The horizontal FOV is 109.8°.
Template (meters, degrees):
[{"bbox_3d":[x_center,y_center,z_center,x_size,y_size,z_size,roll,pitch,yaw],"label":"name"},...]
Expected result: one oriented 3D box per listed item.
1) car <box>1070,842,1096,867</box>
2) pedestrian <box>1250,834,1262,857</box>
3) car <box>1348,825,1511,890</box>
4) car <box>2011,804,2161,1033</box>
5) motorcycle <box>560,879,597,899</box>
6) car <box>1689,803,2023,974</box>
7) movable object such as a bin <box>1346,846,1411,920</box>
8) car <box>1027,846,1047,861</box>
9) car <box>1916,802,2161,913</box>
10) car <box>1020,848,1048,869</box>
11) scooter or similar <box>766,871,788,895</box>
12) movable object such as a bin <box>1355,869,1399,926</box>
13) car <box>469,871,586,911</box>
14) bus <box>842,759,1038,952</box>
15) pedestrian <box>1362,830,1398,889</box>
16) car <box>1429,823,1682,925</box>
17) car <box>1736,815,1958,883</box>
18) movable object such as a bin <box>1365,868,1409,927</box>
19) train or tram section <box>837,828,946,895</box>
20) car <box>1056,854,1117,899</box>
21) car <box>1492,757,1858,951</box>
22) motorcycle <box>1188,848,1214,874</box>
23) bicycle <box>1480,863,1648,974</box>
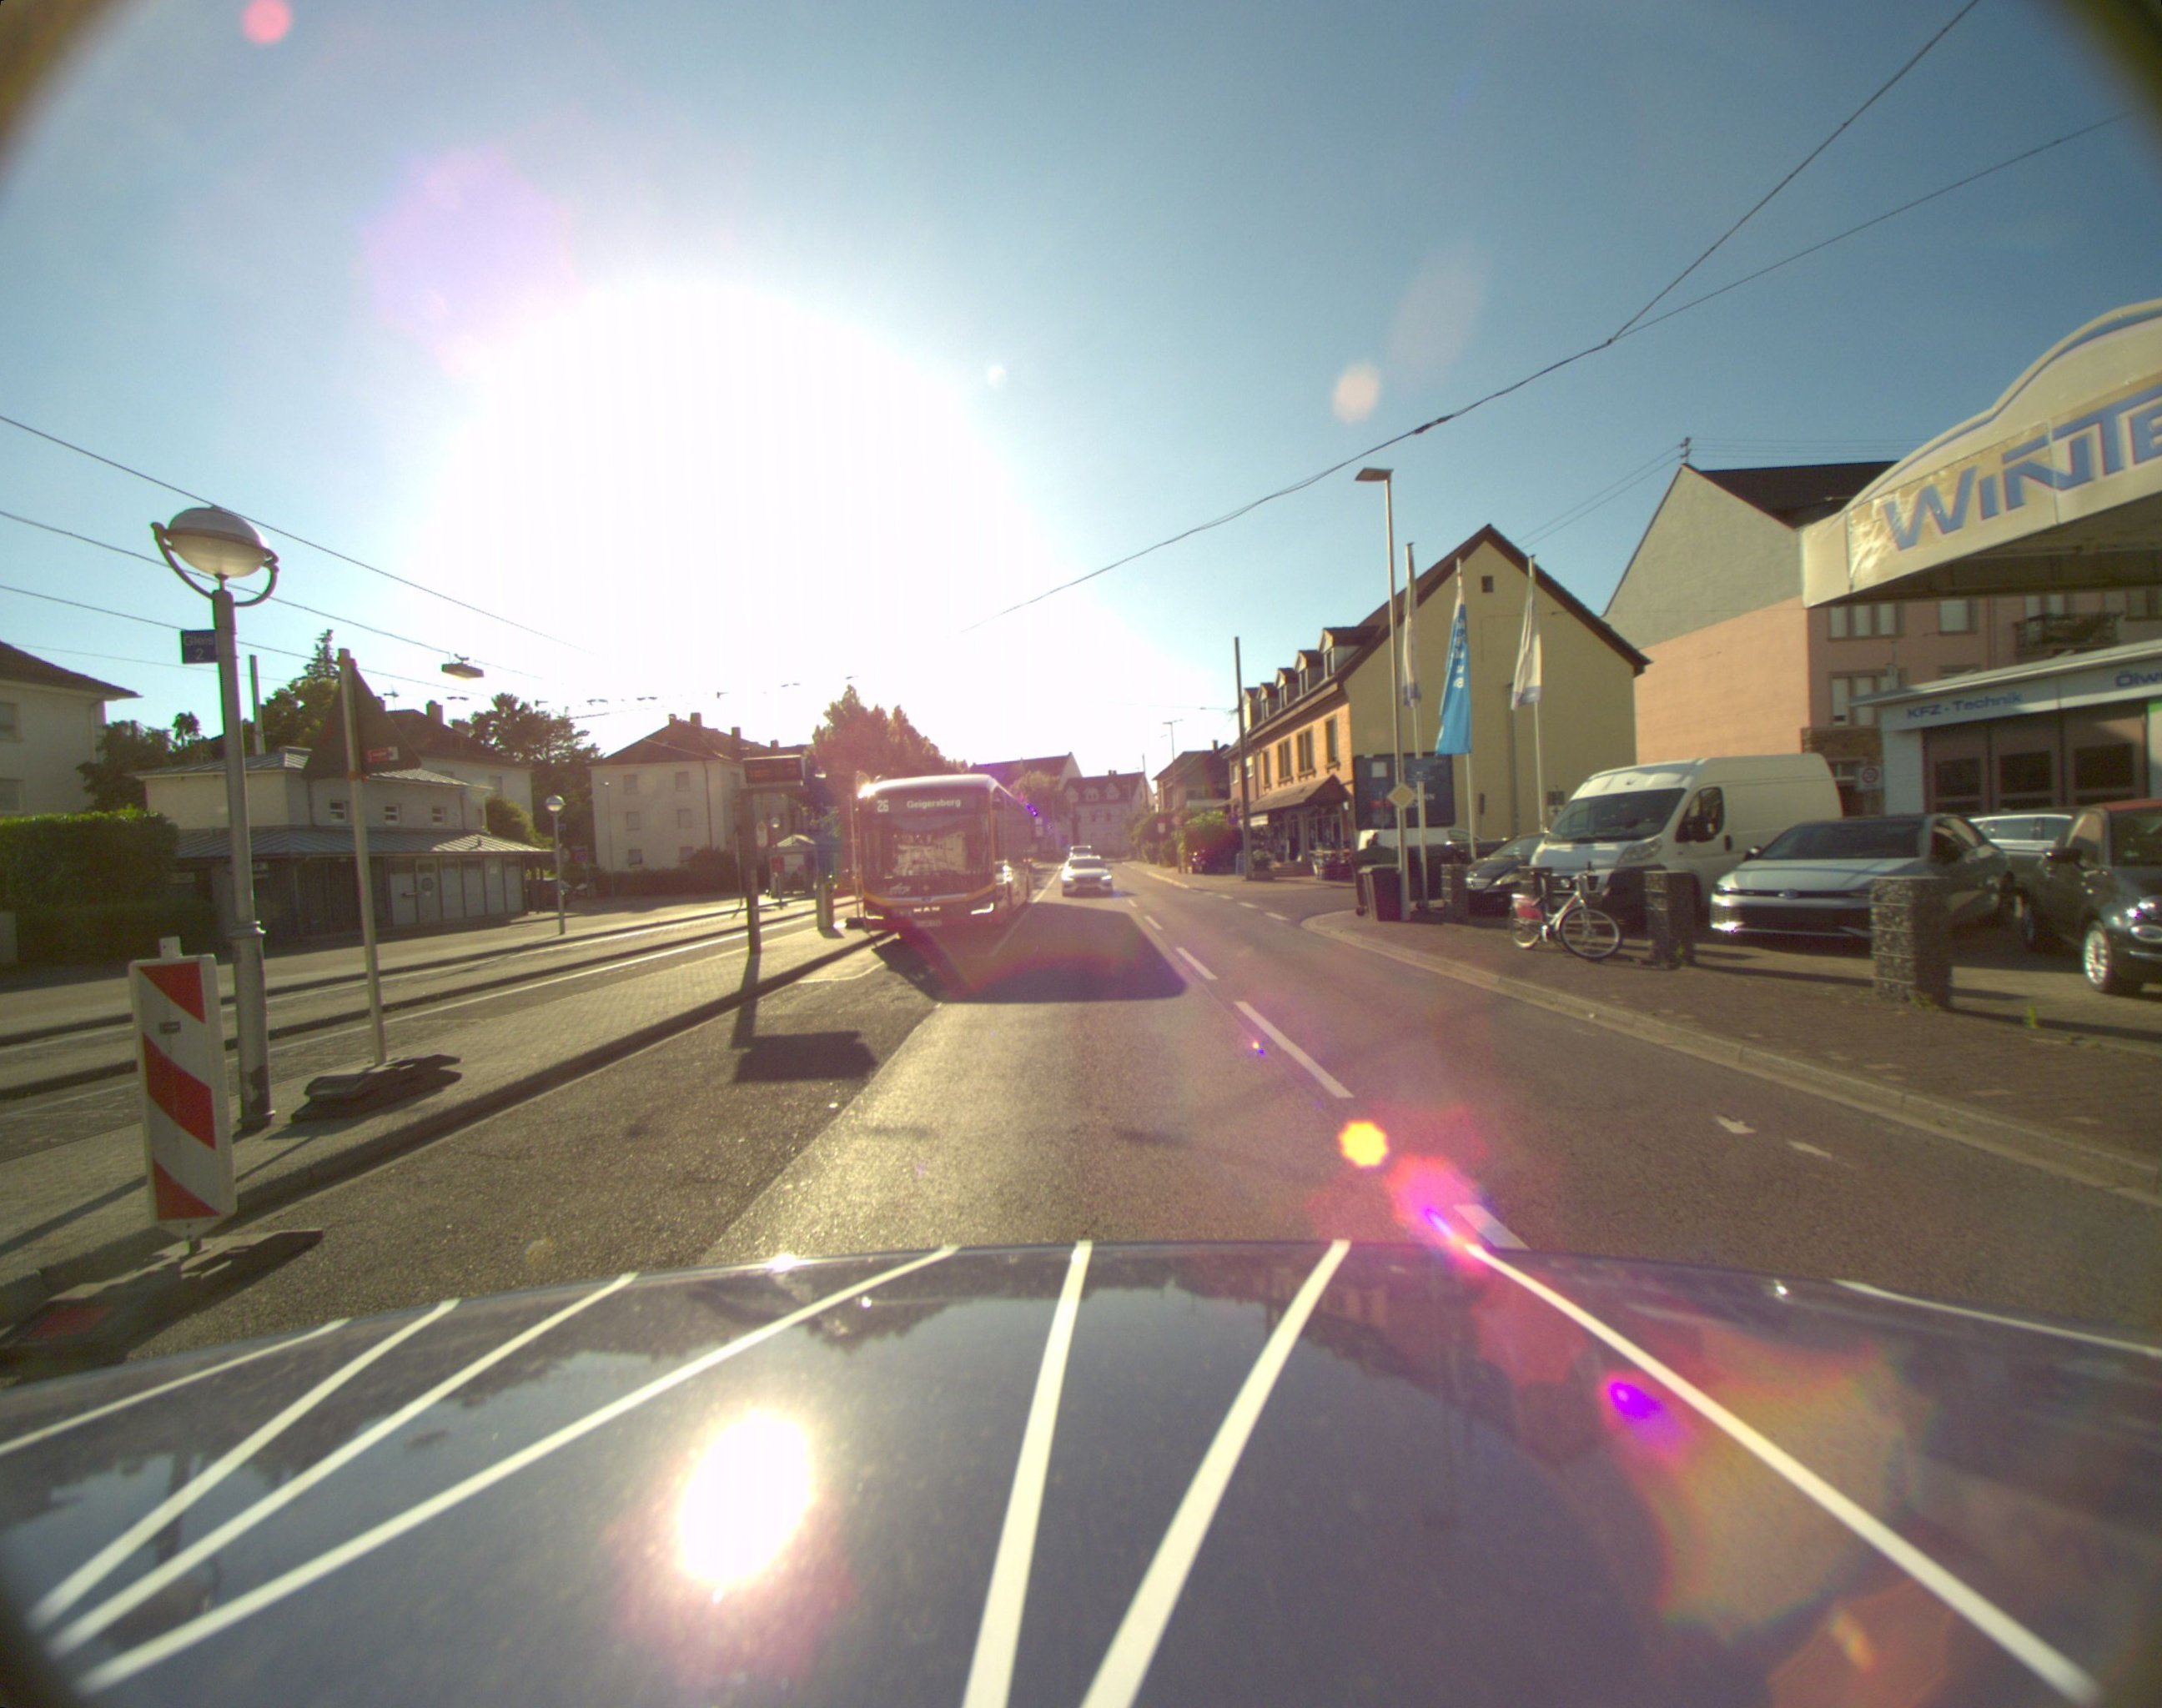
[{"bbox_3d":[0.142,0.038,64.360,1.871,1.922,4.791,-4,0,-2],"label":"car"},{"bbox_3d":[9.567,-0.479,41.614,0.524,1.251,0.465,-3,1,1],"label":"pedestrian"},{"bbox_3d":[11.870,0.102,26.104,4.627,1.922,1.999,-3,1,-2],"label":"car"},{"bbox_3d":[9.103,0.379,6.109,1.617,1.559,3.400,-2,1,43],"label":"car"},{"bbox_3d":[-30.981,2.154,46.892,1.826,1.155,0.558,-3,1,-3],"label":"motorcycle"},{"bbox_3d":[9.356,0.296,9.130,4.005,1.559,1.769,-4,0,-29],"label":"car"},{"bbox_3d":[6.336,0.617,16.158,1.055,1.473,1.315,-4,-2,28],"label":"movable object such as a bin"},{"bbox_3d":[-5.164,-0.059,89.573,1.998,1.664,4.000,-2,0,1],"label":"car"},{"bbox_3d":[16.353,0.005,11.859,1.772,1.559,4.315,-4,0,-1],"label":"car"},{"bbox_3d":[-3.889,0.362,63.786,1.998,1.664,4.000,-2,0,1],"label":"car"},{"bbox_3d":[-16.110,1.514,40.297,0.467,1.201,1.210,-2,1,11],"label":"scooter or similar"},{"bbox_3d":[5.885,0.857,15.142,0.661,1.056,0.585,-5,-1,12],"label":"movable object such as a bin"},{"bbox_3d":[-27.841,1.843,38.330,4.448,1.759,2.000,-2,1,4],"label":"car"},{"bbox_3d":[-2.913,-0.008,19.844,2.695,3.396,12.016,-3,0,0],"label":"bus"},{"bbox_3d":[9.719,0.177,24.715,0.794,1.857,0.820,-3,1,2],"label":"pedestrian"},{"bbox_3d":[9.033,0.342,14.567,4.001,1.559,1.771,-4,0,-14],"label":"car"},{"bbox_3d":[20.847,-0.179,20.830,3.997,1.517,1.998,-3,5,0],"label":"car"},{"bbox_3d":[5.830,0.827,14.492,0.641,1.063,0.581,-3,-2,12],"label":"movable object such as a bin"},{"bbox_3d":[-11.667,0.176,49.092,2.965,3.514,15.964,-2,2,0],"label":"train or tram section"},{"bbox_3d":[0.300,0.786,28.959,1.998,1.454,4.450,-3,0,4],"label":"car"},{"bbox_3d":[9.176,-0.106,11.739,5.076,2.455,2.105,-4,1,-22],"label":"car"},{"bbox_3d":[6.313,0.344,40.199,0.841,1.275,2.231,-4,1,-3],"label":"motorcycle"},{"bbox_3d":[5.873,0.733,9.377,0.725,1.171,1.779,-3,1,-9],"label":"bicycle"}]
